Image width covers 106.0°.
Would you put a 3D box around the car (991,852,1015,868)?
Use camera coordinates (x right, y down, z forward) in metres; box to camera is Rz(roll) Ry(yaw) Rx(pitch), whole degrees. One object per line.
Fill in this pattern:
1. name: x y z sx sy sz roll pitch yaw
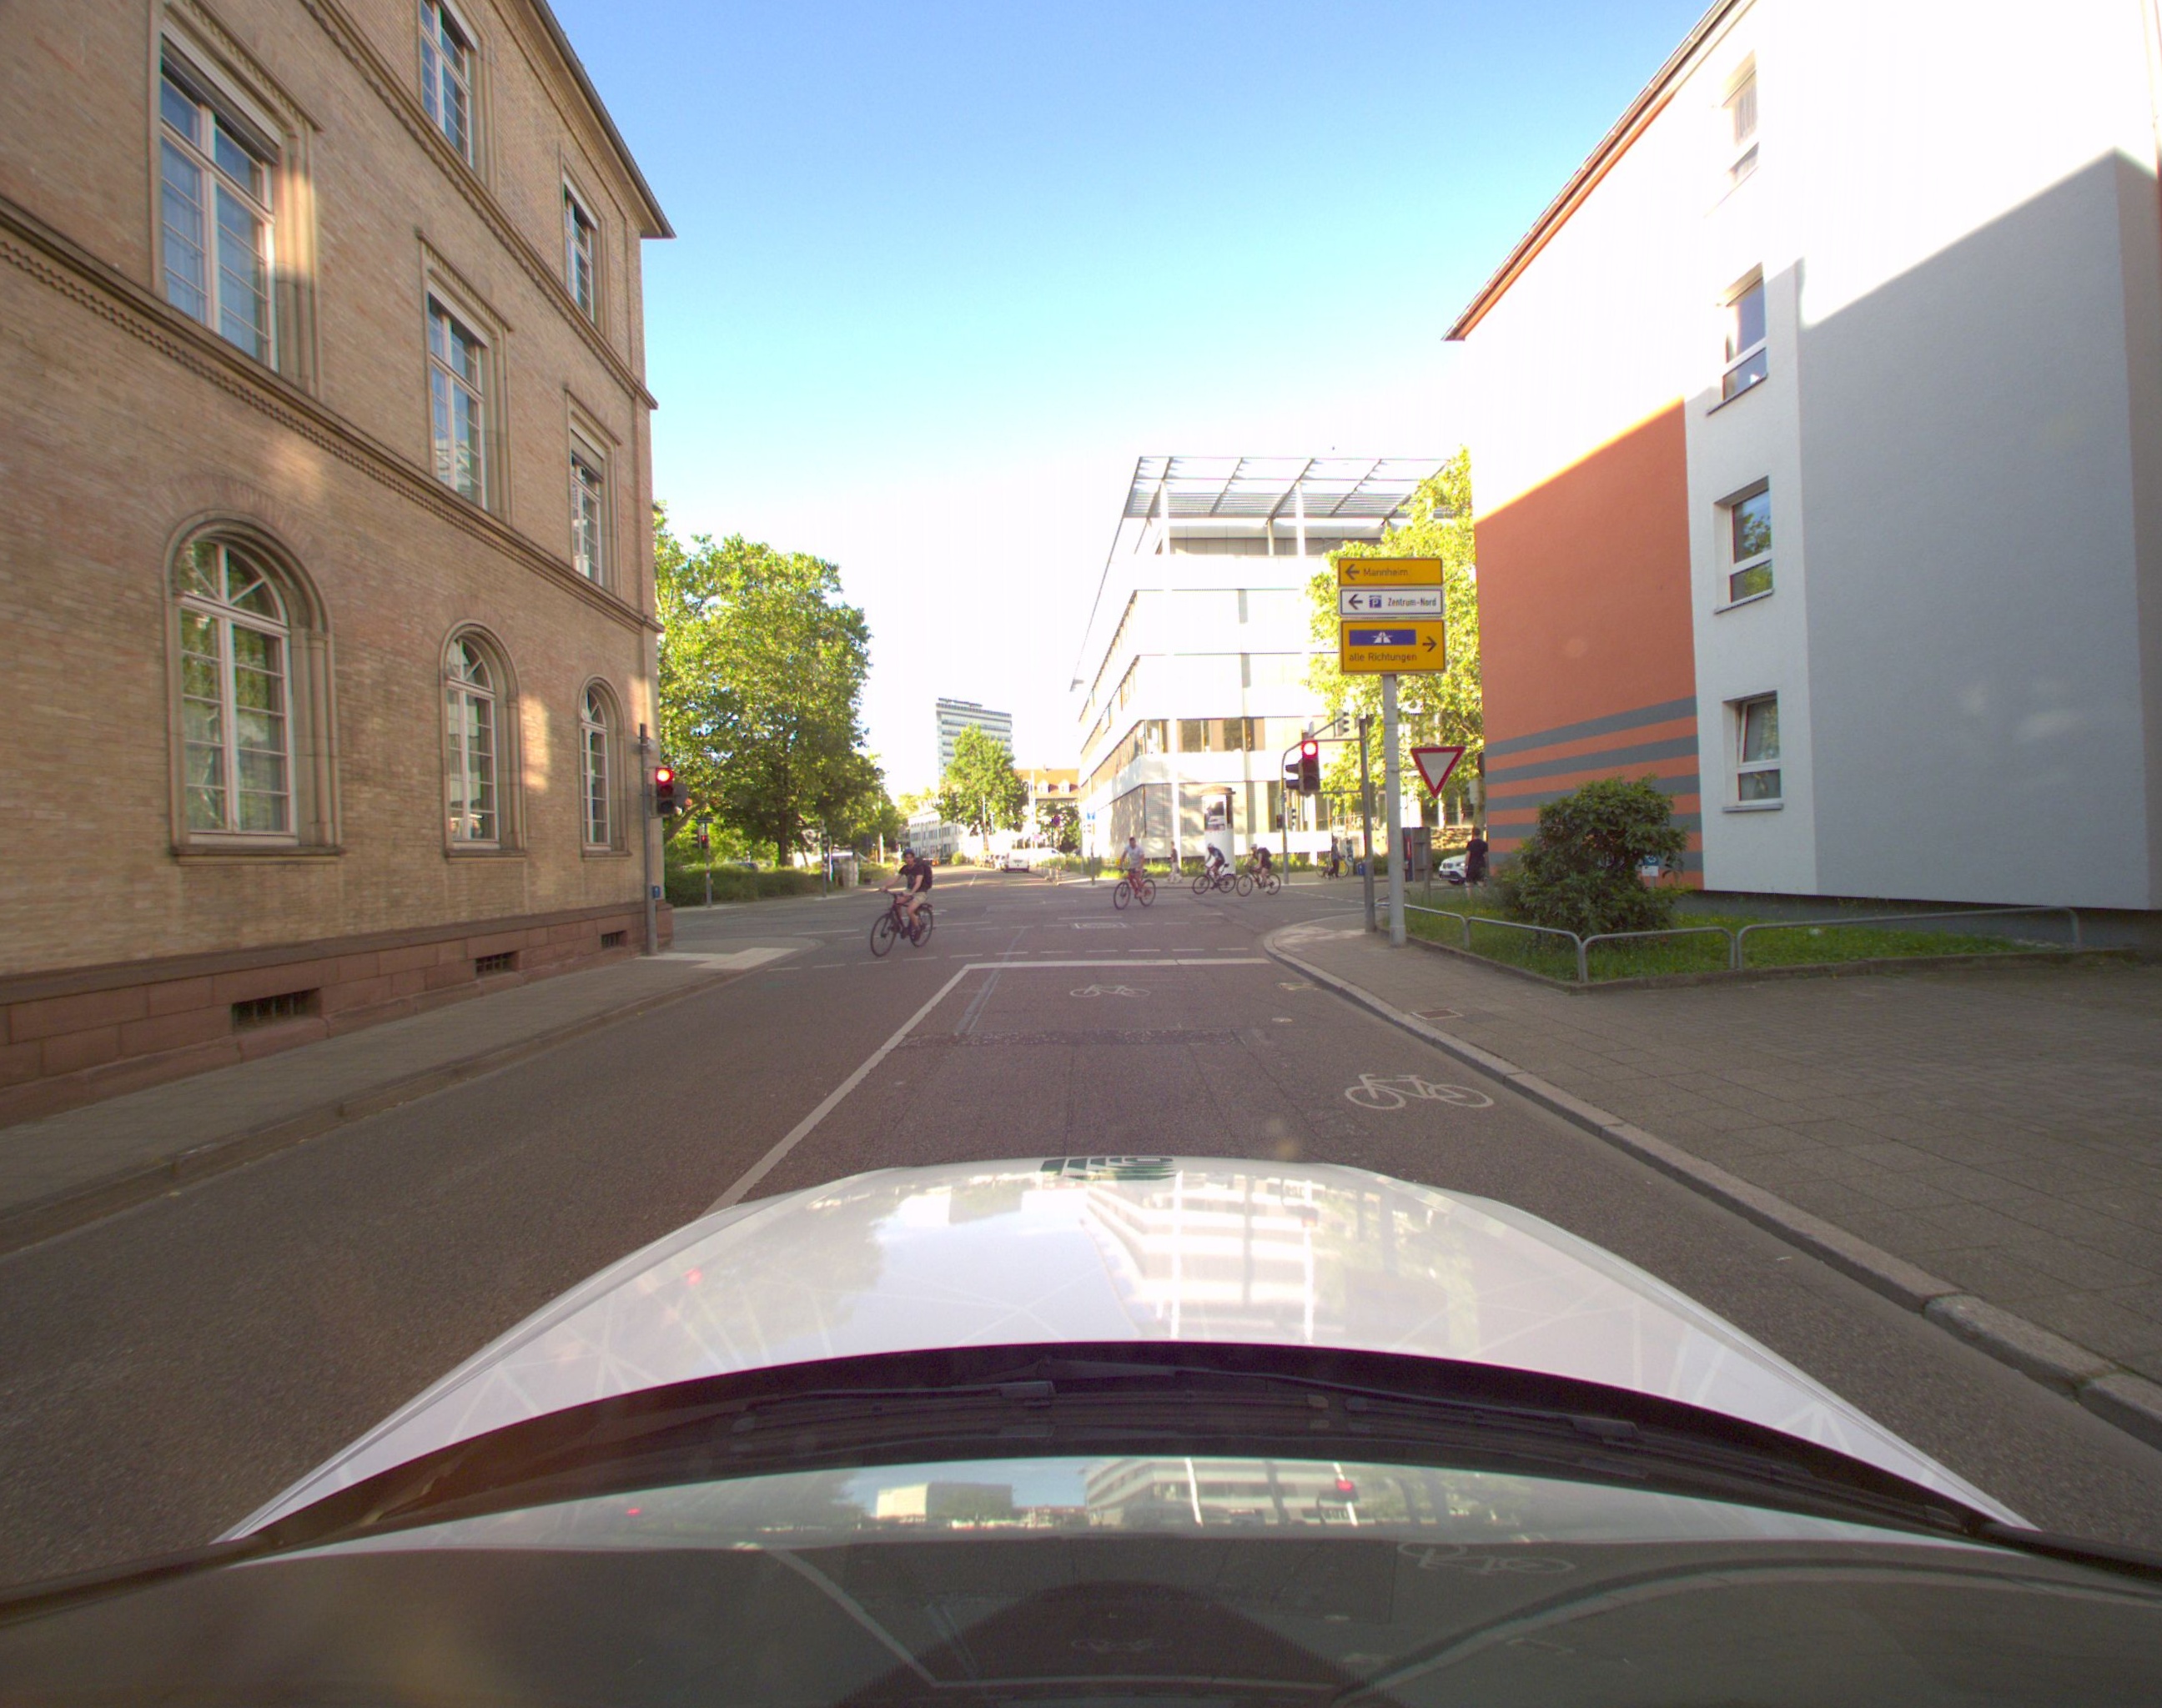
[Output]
1. car: -7.841 0.584 81.650 1.994 1.499 4.270 0 -1 -11

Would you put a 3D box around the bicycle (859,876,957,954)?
1. bicycle: -2.920 1.006 13.975 0.585 1.152 1.981 -2 0 23

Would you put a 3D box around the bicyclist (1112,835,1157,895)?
1. bicyclist: 1.404 0.288 21.259 0.695 1.522 0.924 -2 0 41

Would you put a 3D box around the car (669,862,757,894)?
1. car: -17.079 1.095 37.925 3.407 1.457 1.646 0 -1 -8

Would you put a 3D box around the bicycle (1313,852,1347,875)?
1. bicycle: 11.010 0.430 36.051 0.381 1.008 1.416 -2 0 -40

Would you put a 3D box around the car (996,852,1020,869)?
1. car: -6.918 0.608 77.176 1.993 1.499 4.638 0 0 -8

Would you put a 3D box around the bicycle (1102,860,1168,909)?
1. bicycle: 1.427 0.783 21.249 0.619 1.152 1.982 -2 0 41

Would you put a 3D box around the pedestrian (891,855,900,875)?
1. pedestrian: -15.303 0.893 67.195 0.700 1.587 0.633 0 -1 -14

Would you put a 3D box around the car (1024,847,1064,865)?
1. car: -4.682 0.270 103.273 4.802 2.159 1.989 0 -1 -16

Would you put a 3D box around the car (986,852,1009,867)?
1. car: -8.883 0.589 86.403 1.994 1.499 4.635 0 -1 -10

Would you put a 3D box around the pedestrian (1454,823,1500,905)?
1. pedestrian: 9.017 0.218 18.540 0.723 1.810 0.693 0 -1 -39

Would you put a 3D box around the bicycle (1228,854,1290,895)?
1. bicycle: 5.434 0.601 24.867 1.786 1.152 0.623 -2 0 -24

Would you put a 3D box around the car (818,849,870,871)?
1. car: -22.022 0.527 75.791 4.441 2.014 1.995 0 -1 -8

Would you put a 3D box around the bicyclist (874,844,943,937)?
1. bicyclist: -2.942 0.604 13.984 0.585 1.527 1.085 -2 0 23

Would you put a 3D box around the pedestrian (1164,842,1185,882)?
1. pedestrian: 4.093 0.361 35.582 0.758 1.719 0.651 -1 -1 21

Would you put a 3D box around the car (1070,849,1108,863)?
1. car: 1.023 0.253 104.979 4.644 1.725 1.990 0 -1 -15

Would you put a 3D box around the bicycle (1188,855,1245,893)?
1. bicycle: 4.482 0.640 26.886 1.788 1.152 0.622 -2 0 -27

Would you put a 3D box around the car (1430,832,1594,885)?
1. car: 13.767 0.133 26.171 4.342 1.514 1.718 -1 0 -1

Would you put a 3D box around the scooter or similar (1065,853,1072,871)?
1. scooter or similar: -0.911 0.583 58.499 0.436 1.256 1.418 -2 0 -2

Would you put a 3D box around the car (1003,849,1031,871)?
1. car: -5.170 0.468 65.141 1.992 1.725 4.640 0 -1 -7

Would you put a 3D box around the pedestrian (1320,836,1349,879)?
1. pedestrian: 10.725 0.154 34.453 0.905 1.815 0.767 -1 -1 43

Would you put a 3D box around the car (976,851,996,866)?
1. car: -11.300 0.534 96.326 1.995 1.725 4.633 0 -1 -11

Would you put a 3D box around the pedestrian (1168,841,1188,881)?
1. pedestrian: 4.330 0.319 36.352 0.758 1.795 0.651 -1 -1 22

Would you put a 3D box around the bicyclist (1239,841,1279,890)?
1. bicyclist: 5.439 0.344 24.860 0.975 1.446 0.623 -2 0 -23

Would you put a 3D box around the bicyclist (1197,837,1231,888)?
1. bicyclist: 4.374 0.287 26.833 0.828 1.628 0.622 -2 0 -27
